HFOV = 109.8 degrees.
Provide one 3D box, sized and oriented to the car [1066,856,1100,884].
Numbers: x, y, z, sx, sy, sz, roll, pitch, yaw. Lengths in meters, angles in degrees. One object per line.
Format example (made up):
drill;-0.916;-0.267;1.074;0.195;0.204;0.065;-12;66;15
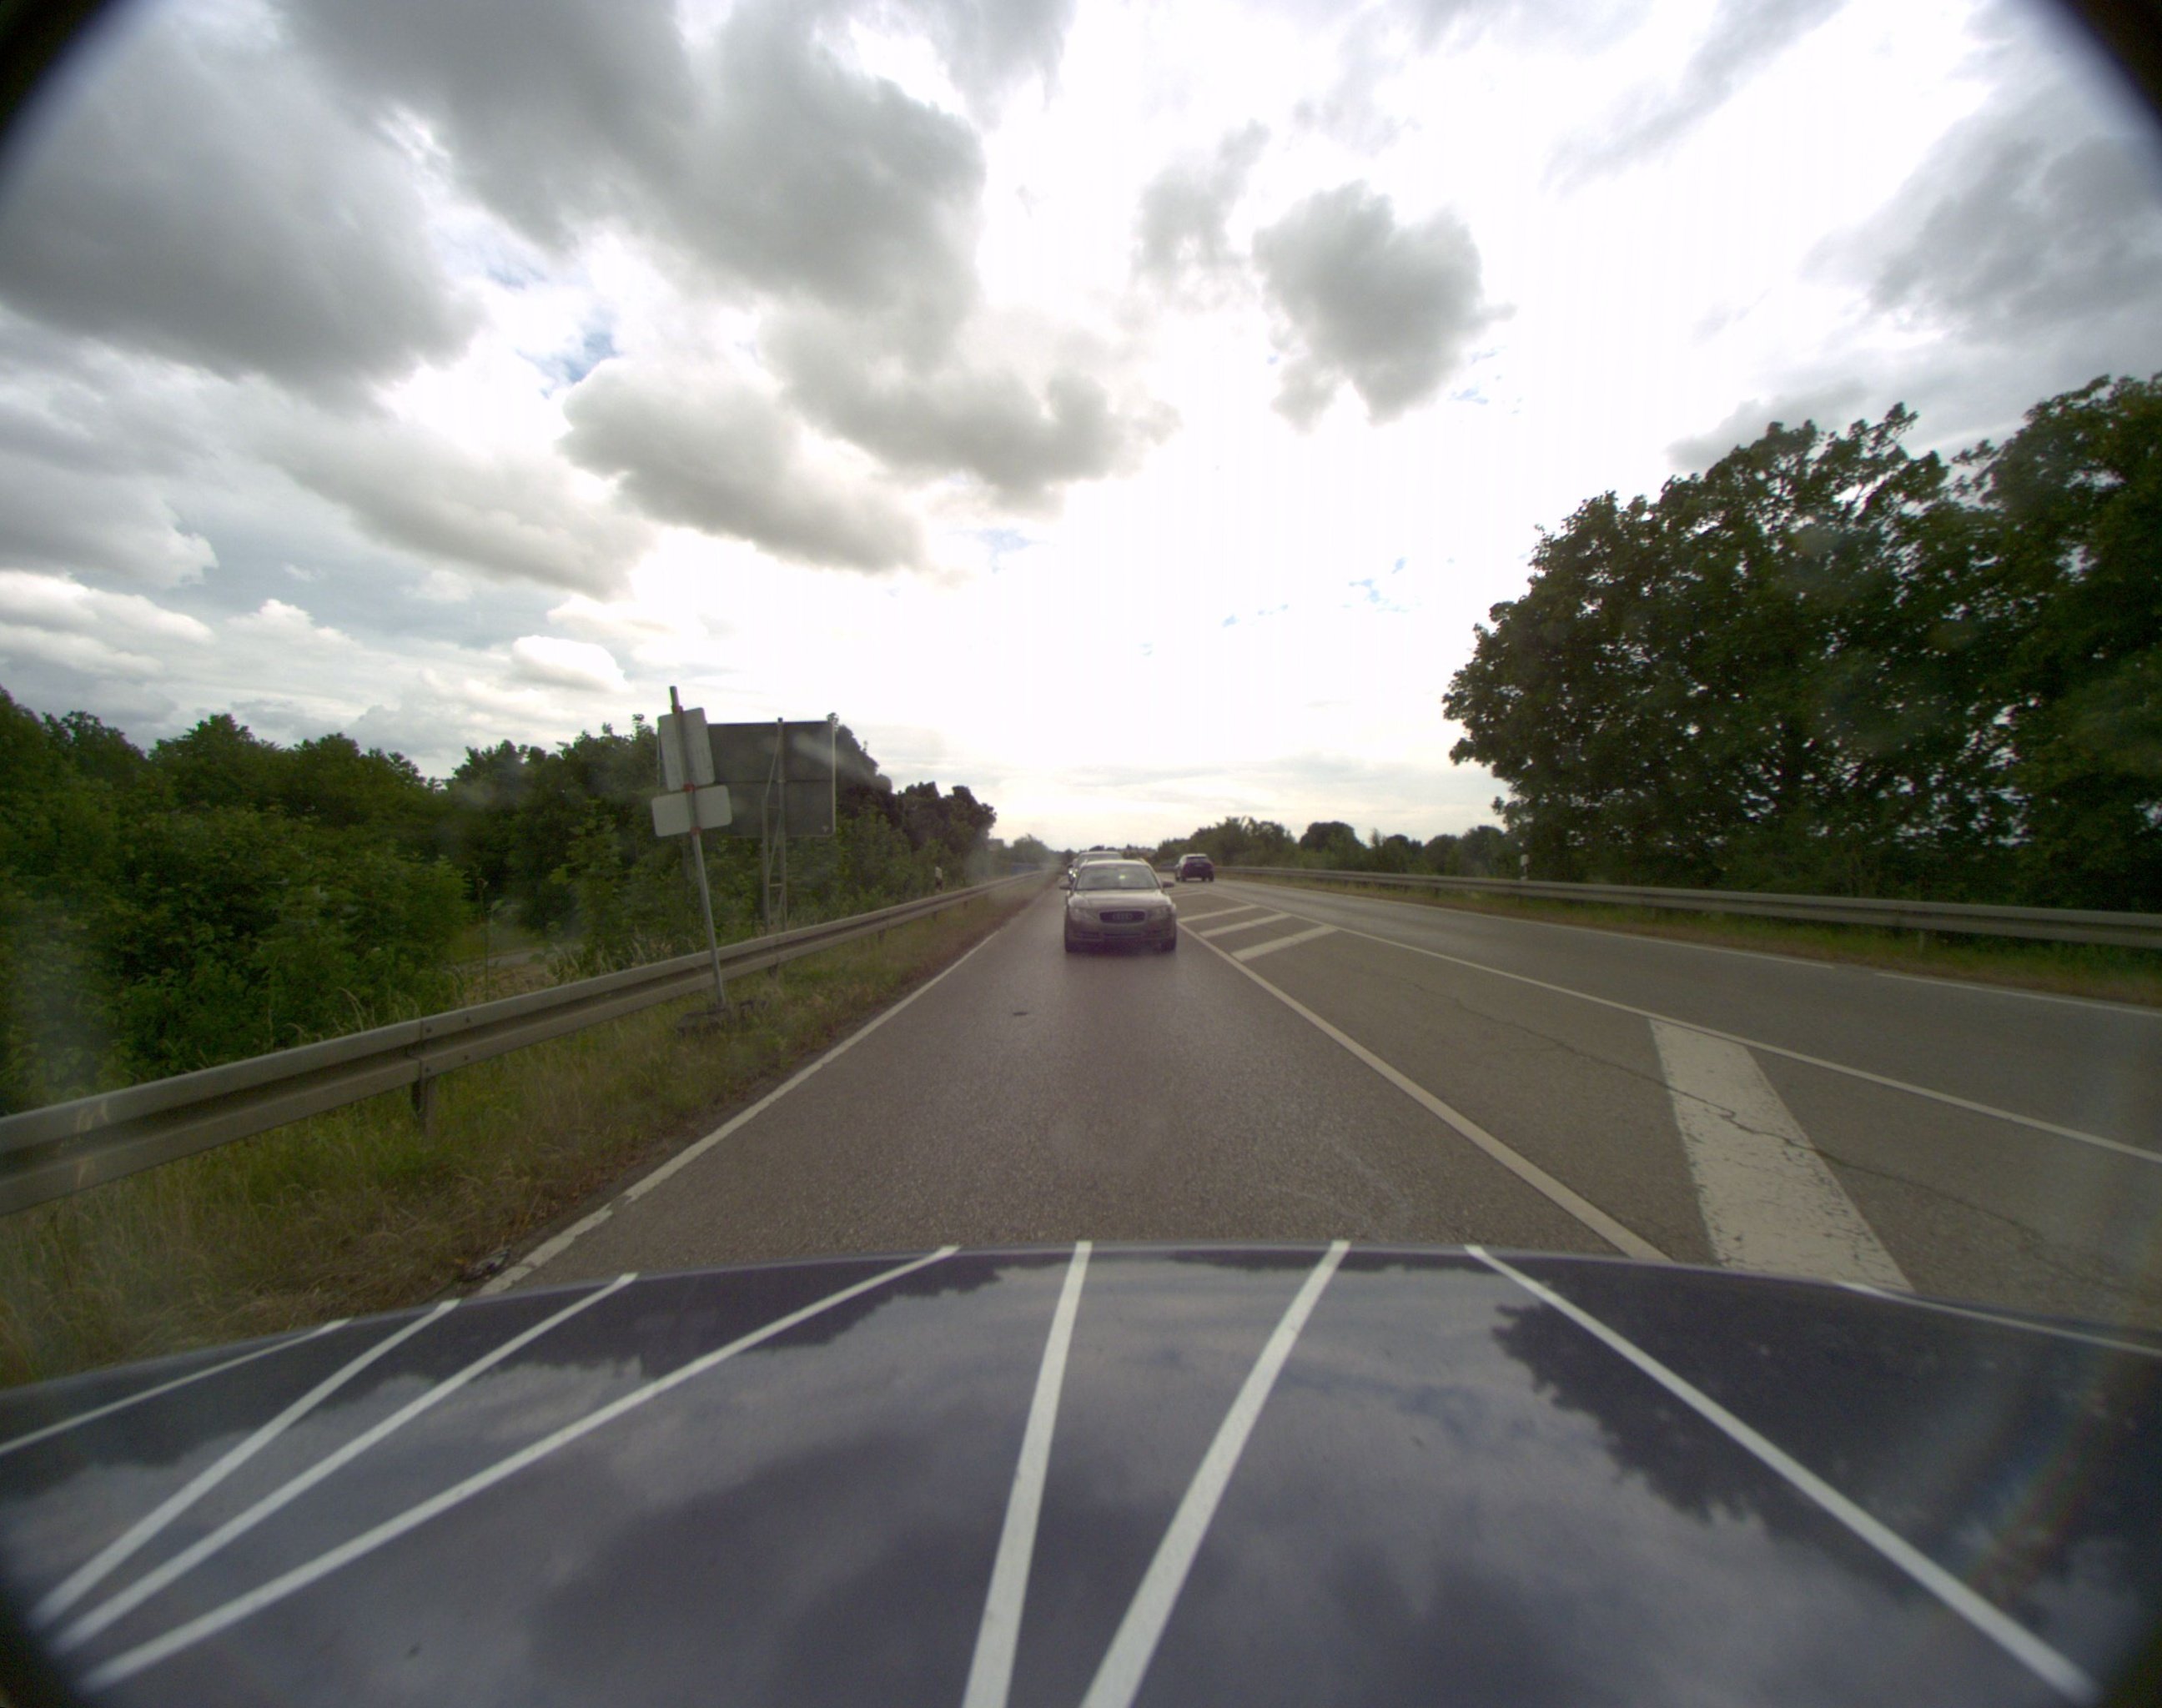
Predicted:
car;0.114;0.818;40.144;1.670;1.339;4.000;-2;0;0

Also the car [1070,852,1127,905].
car;0.545;0.727;24.324;1.603;1.494;3.962;-2;0;1

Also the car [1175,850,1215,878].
car;6.670;0.578;44.877;1.714;1.509;4.209;-2;0;1

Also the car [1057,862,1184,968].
car;0.555;0.891;12.755;1.768;1.383;3.876;-2;0;0
